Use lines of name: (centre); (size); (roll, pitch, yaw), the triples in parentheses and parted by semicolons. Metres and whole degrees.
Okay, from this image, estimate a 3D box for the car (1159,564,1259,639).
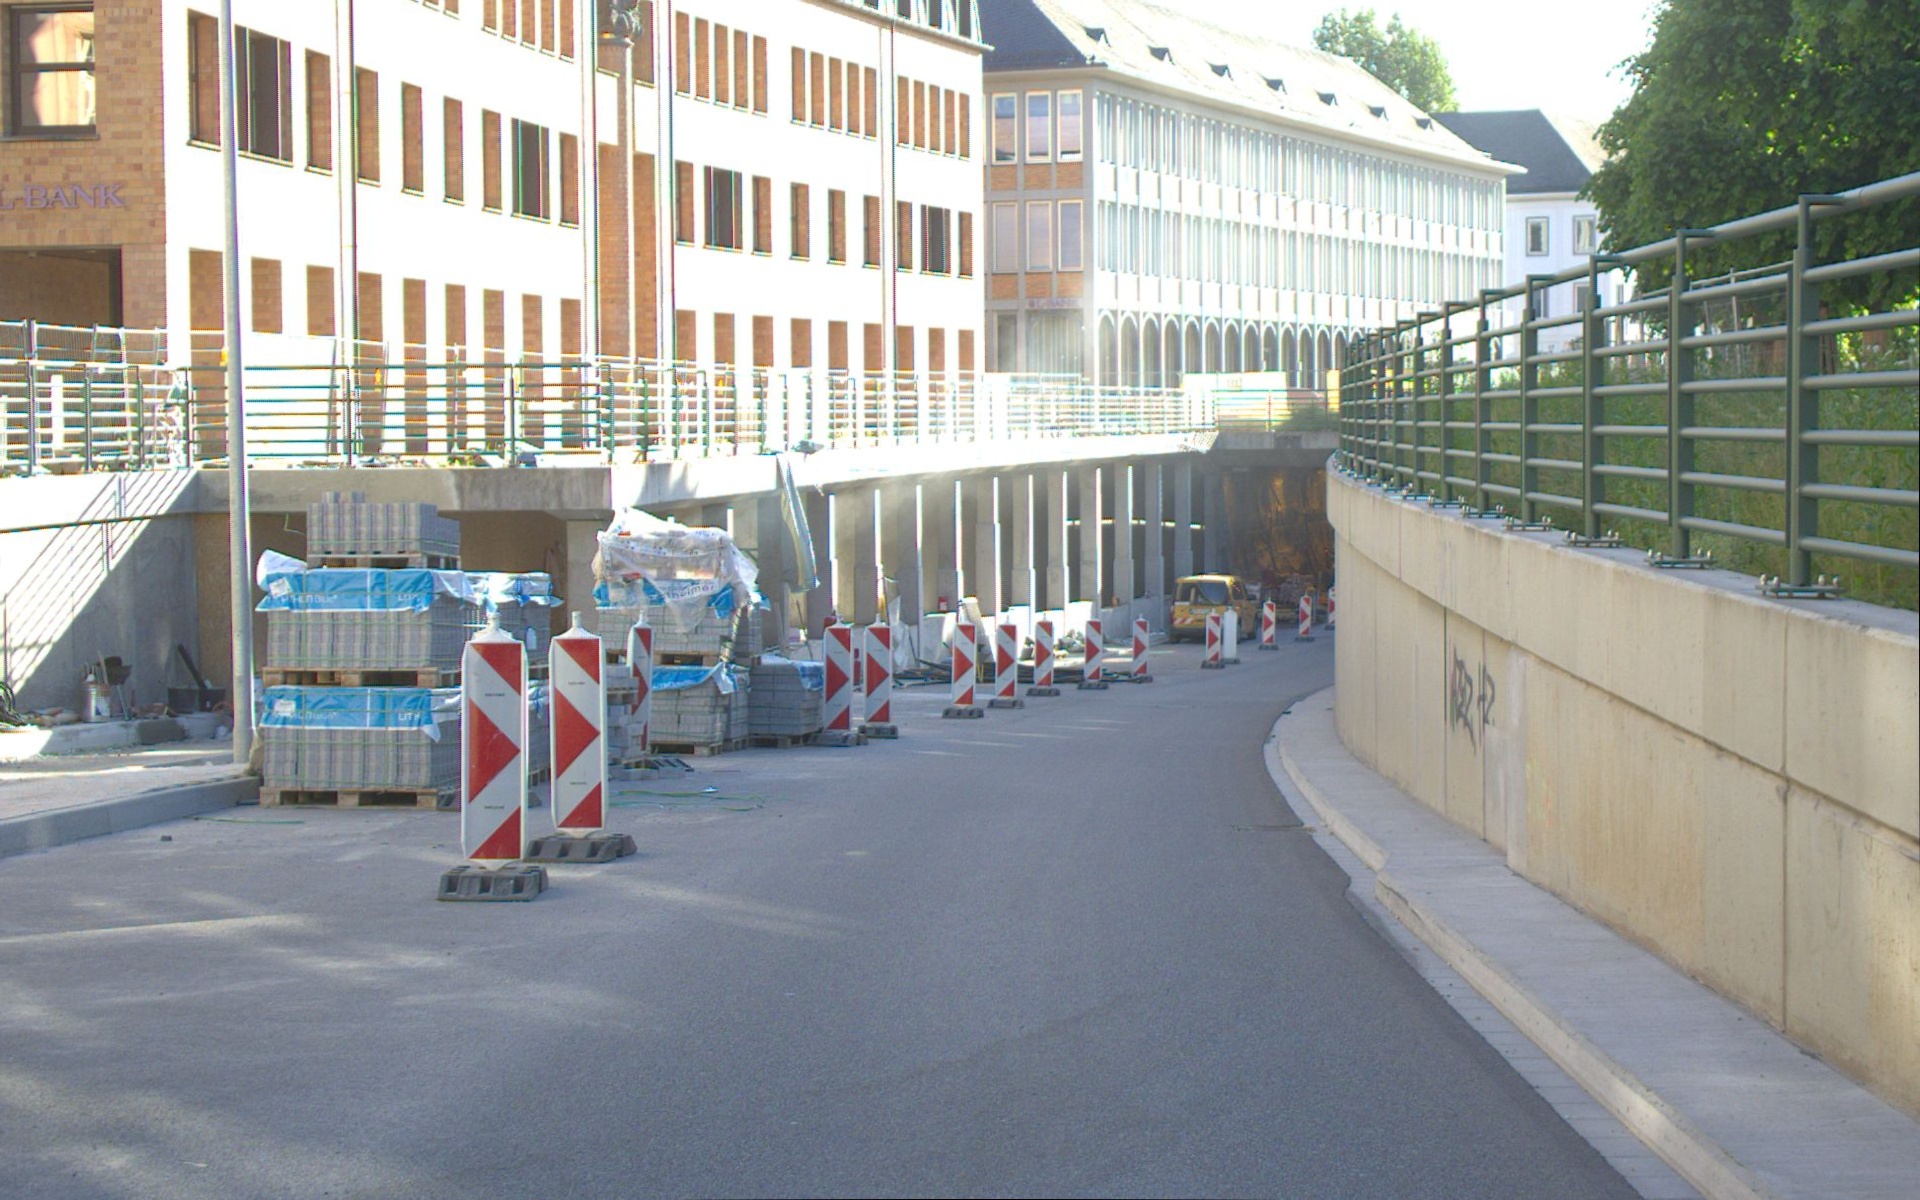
car: (6.596, 0.024, 90.748); (1.849, 1.769, 4.432); (1, 3, 14)
